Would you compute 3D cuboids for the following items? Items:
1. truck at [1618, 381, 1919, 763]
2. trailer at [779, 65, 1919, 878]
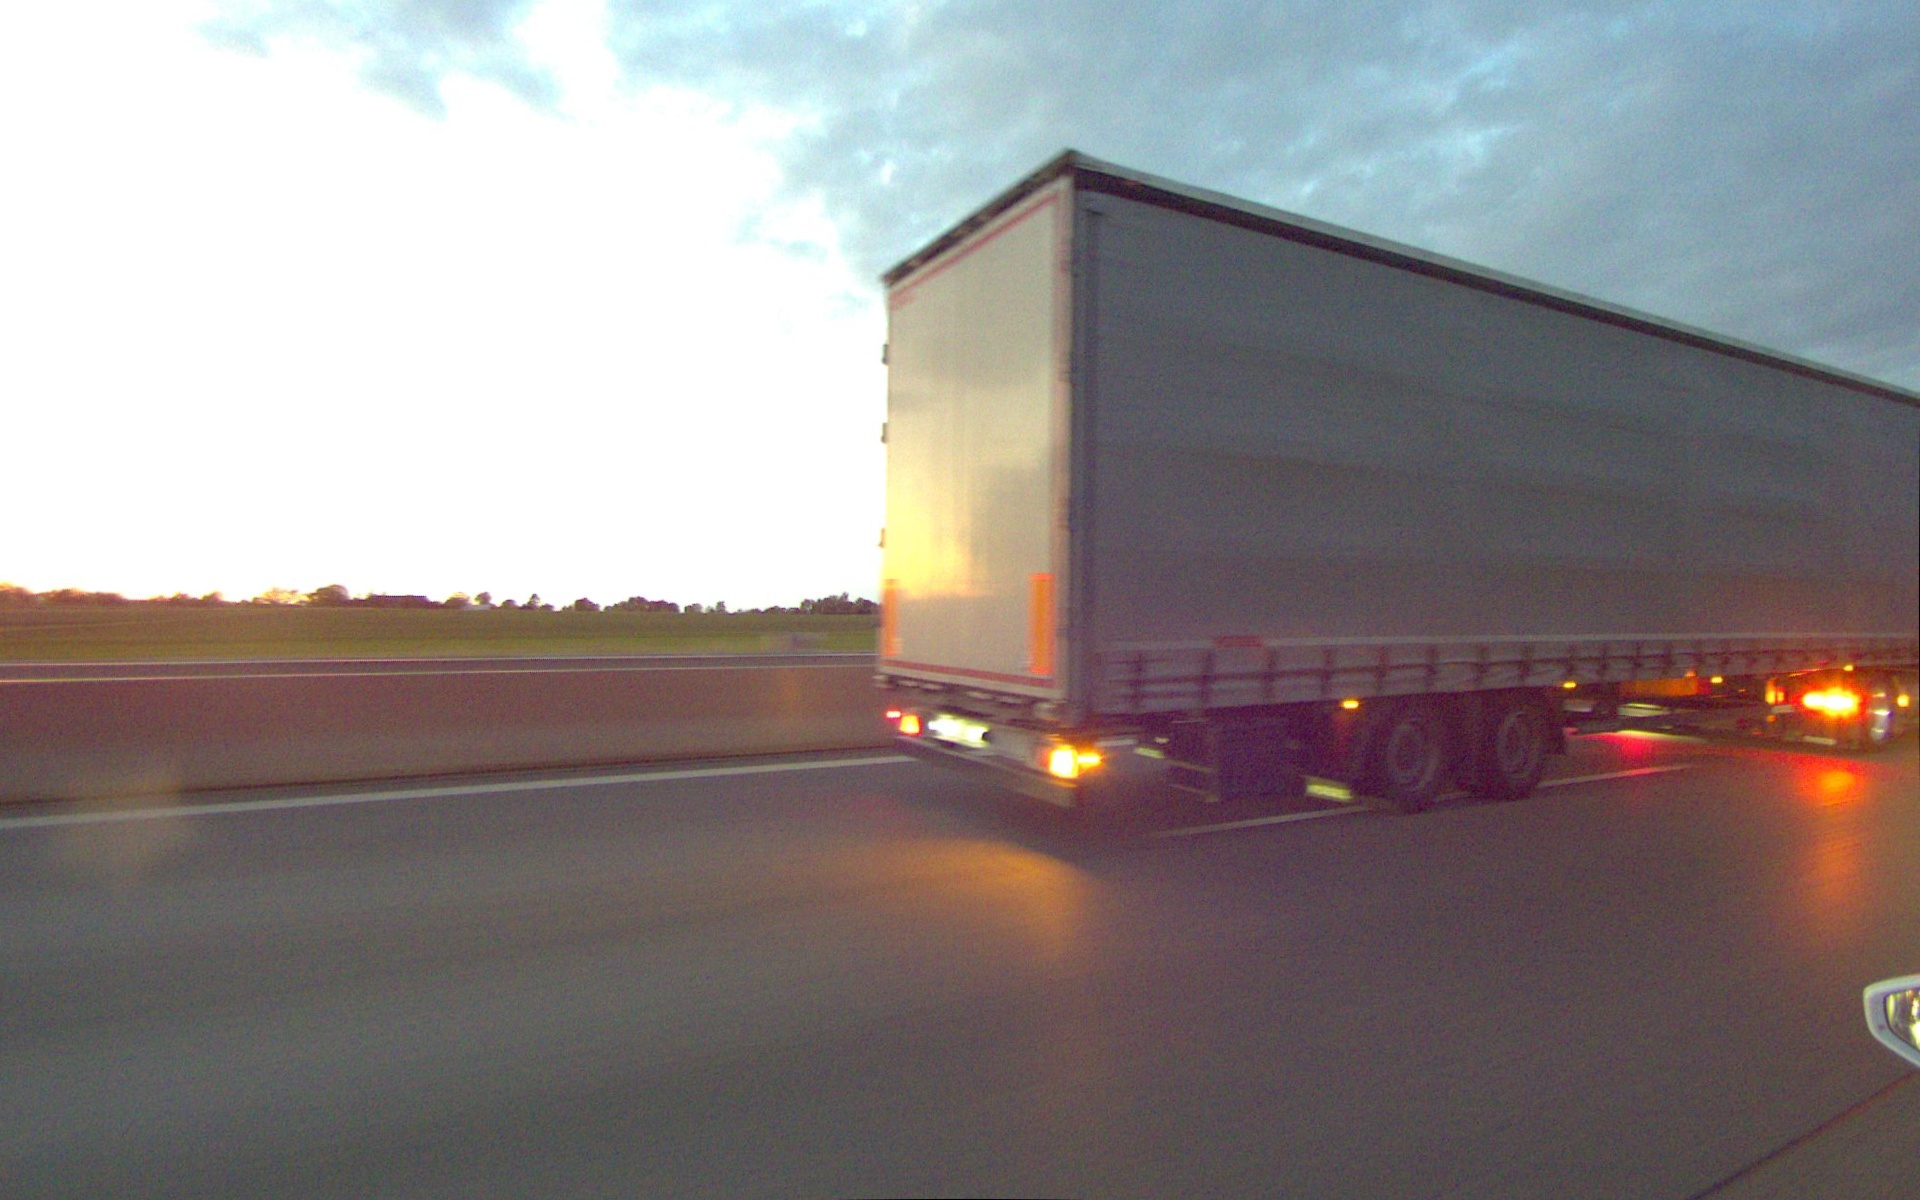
[{"bbox_3d":[12.019,-0.205,13.607,6.030,4.146,2.765,2,-1,-30],"label":"truck"},{"bbox_3d":[5.579,-0.431,9.891,14.352,4.139,2.781,2,-1,-30],"label":"trailer"}]
